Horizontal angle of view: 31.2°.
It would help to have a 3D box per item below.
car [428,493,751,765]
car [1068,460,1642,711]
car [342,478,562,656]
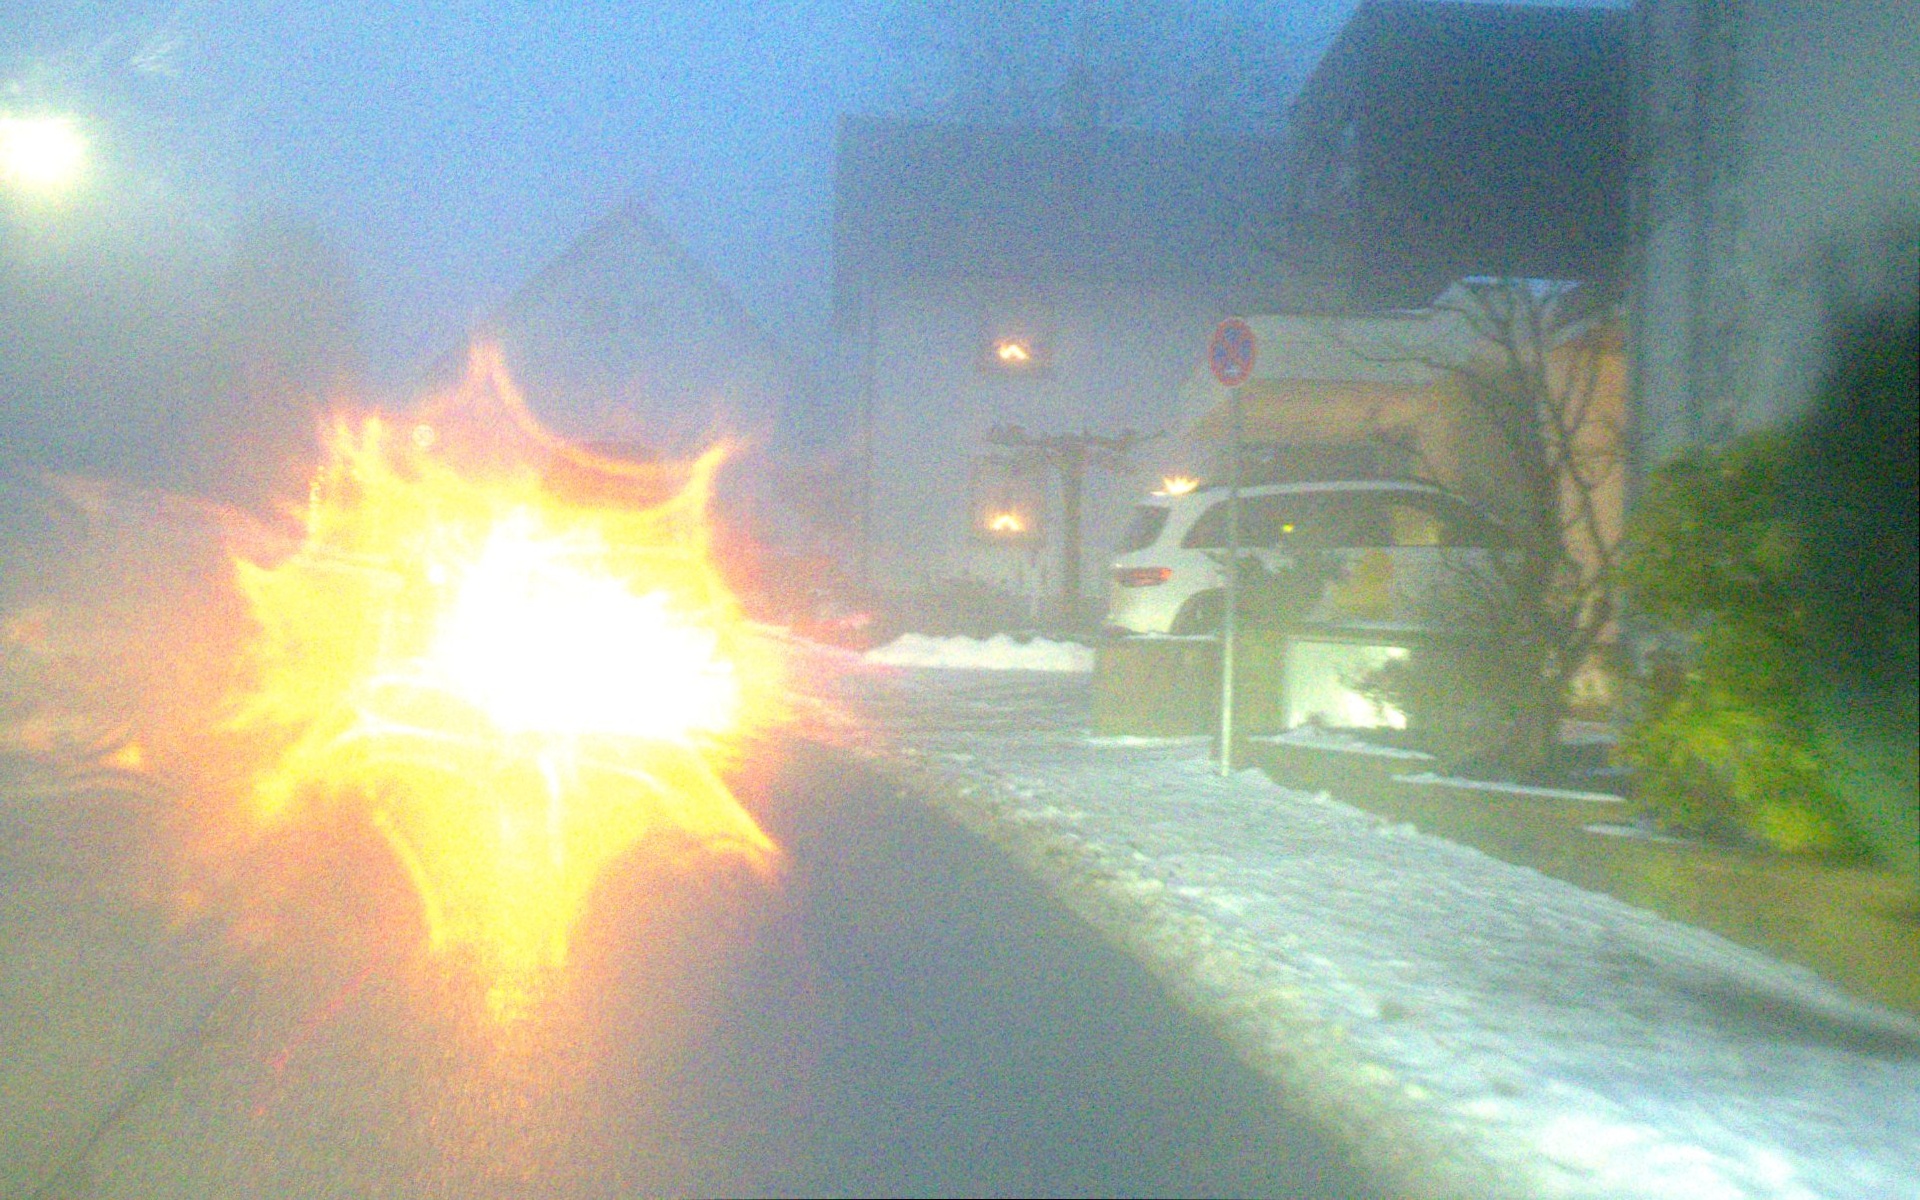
[{"bbox_3d":[-2.354,0.147,22.457,1.897,1.604,4.001,1,1,-4],"label":"car"},{"bbox_3d":[3.001,-0.120,26.800,4.205,1.852,1.911,1,1,-1],"label":"car"},{"bbox_3d":[-5.238,-0.349,35.907,1.993,1.731,3.879,1,1,-4],"label":"car"}]
